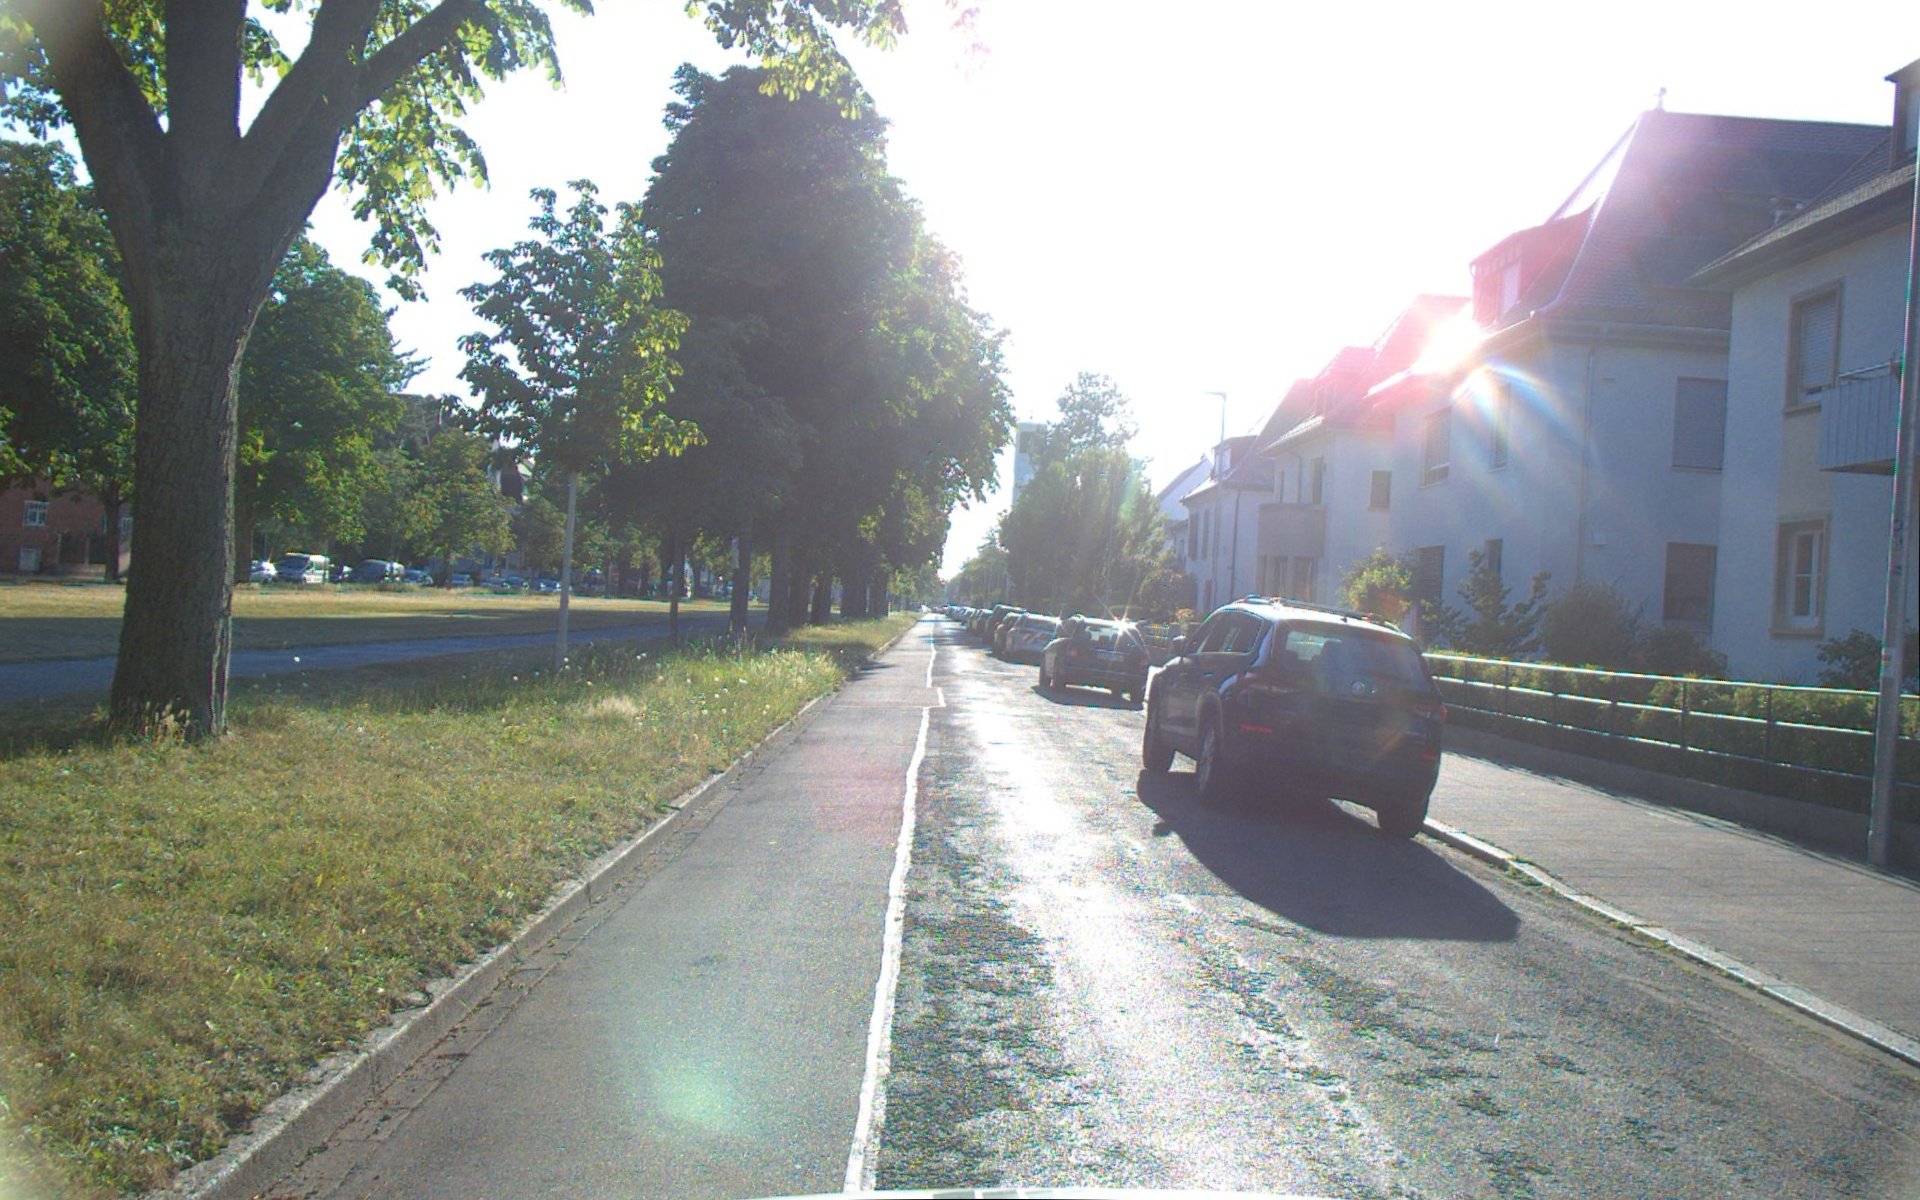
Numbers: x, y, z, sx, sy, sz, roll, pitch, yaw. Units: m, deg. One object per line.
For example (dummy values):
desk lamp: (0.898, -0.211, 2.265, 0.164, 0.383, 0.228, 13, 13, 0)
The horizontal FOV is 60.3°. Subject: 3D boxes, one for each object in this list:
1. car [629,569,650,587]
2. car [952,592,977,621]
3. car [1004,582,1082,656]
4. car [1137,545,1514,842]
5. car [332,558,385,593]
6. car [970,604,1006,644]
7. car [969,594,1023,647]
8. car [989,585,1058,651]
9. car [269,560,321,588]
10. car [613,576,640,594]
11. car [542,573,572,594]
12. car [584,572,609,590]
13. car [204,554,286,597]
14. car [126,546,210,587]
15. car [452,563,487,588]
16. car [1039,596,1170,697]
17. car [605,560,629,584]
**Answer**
car: (-43.396, -2.951, 224.186, 1.954, 2.048, 3.999, 6, -1, -1)
car: (0.328, 0.496, 129.642, 1.658, 2.048, 3.624, 6, -1, -1)
car: (2.563, 0.611, 52.026, 1.954, 2.048, 3.998, 6, -1, -2)
car: (2.938, 0.682, 14.404, 1.955, 1.935, 4.388, 8, 0, -2)
car: (-35.412, -1.412, 97.492, 1.694, 1.718, 3.876, 6, -2, -3)
car: (1.520, 1.335, 91.445, 1.658, 2.048, 3.624, 6, -1, -1)
car: (1.545, 0.908, 71.831, 1.954, 2.048, 3.998, 6, -1, -2)
car: (2.164, 0.634, 57.662, 1.954, 2.048, 3.998, 6, -1, -2)
car: (-40.226, -1.555, 100.149, 1.649, 1.365, 3.470, 6, -1, -1)
car: (-34.513, -1.555, 170.994, 1.953, 1.764, 3.999, 3, 0, -1)
car: (-41.569, -1.696, 170.650, 1.954, 1.946, 3.999, 6, -1, -1)
car: (-40.901, -2.140, 186.154, 1.842, 1.782, 3.796, 6, -1, -1)
car: (-33.767, -1.125, 78.232, 1.982, 1.687, 3.983, 6, -1, 0)
car: (-39.763, -1.676, 83.172, 1.953, 1.687, 4.355, 6, -1, 1)
car: (-39.769, -1.978, 134.087, 1.695, 1.792, 3.345, 6, -1, -1)
car: (2.701, 0.873, 31.874, 1.954, 1.682, 3.998, 4, -1, -2)
car: (-34.095, -2.781, 164.511, 1.621, 1.972, 3.565, 6, -2, -2)
